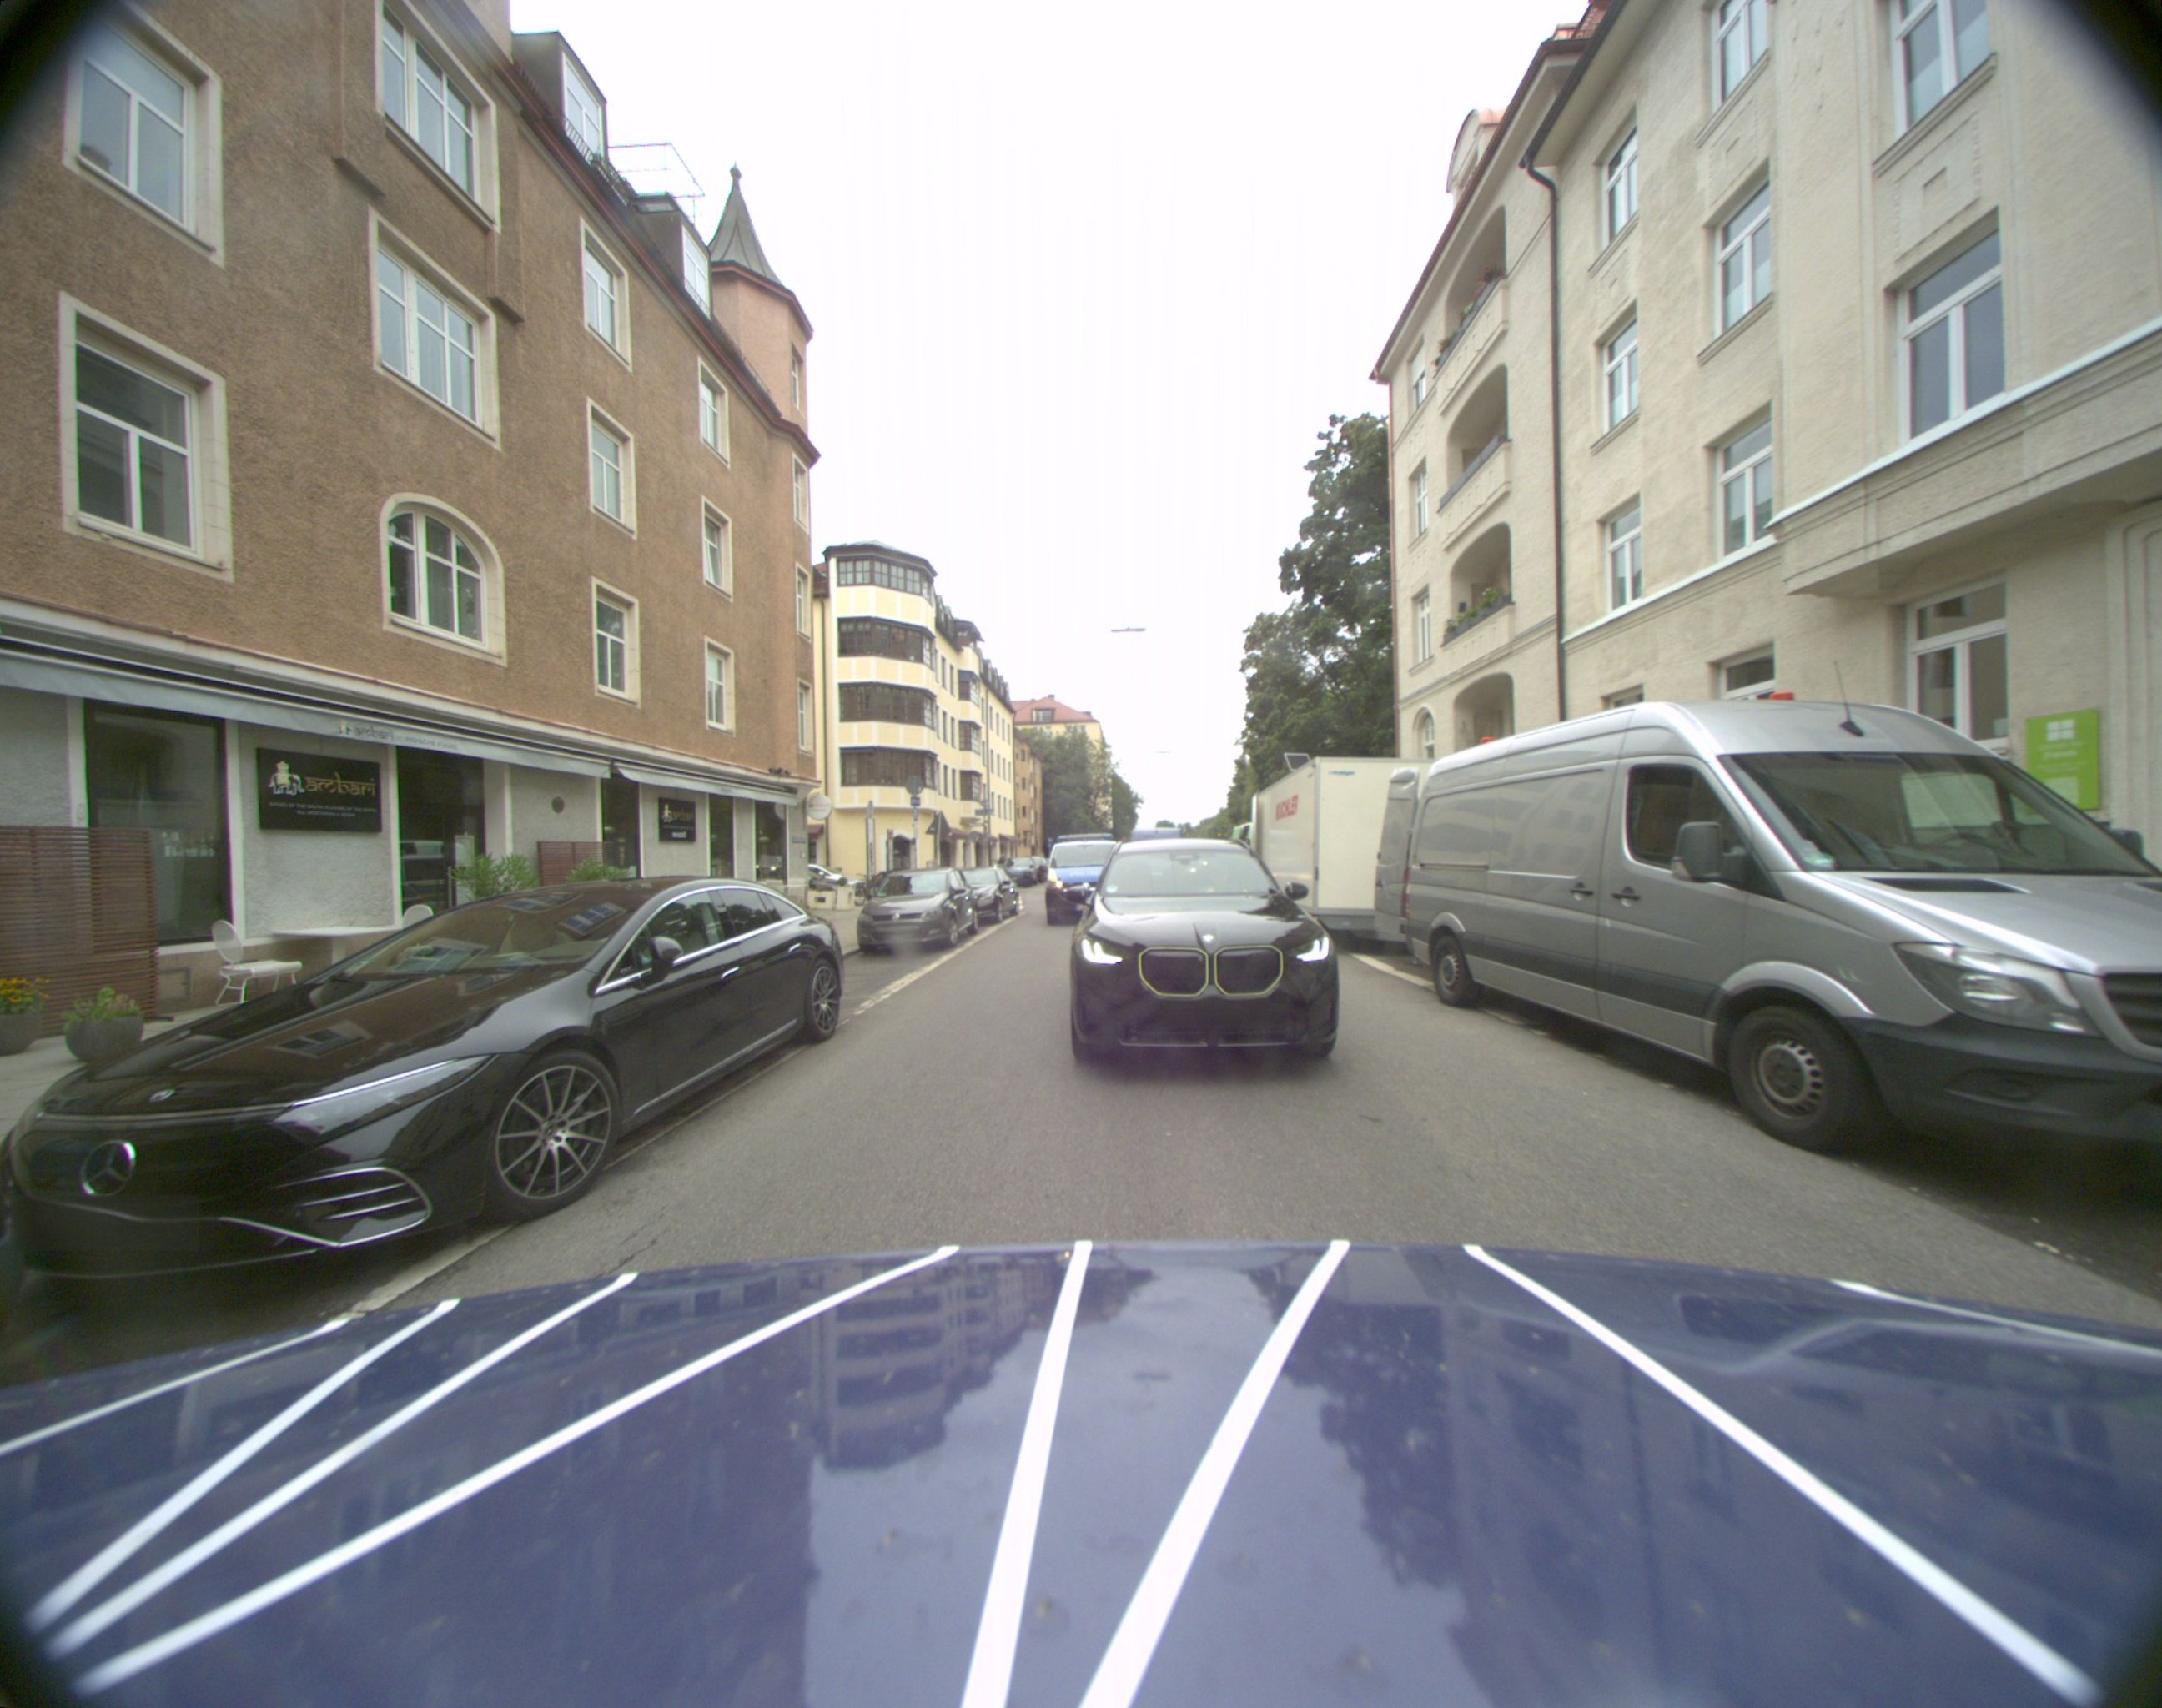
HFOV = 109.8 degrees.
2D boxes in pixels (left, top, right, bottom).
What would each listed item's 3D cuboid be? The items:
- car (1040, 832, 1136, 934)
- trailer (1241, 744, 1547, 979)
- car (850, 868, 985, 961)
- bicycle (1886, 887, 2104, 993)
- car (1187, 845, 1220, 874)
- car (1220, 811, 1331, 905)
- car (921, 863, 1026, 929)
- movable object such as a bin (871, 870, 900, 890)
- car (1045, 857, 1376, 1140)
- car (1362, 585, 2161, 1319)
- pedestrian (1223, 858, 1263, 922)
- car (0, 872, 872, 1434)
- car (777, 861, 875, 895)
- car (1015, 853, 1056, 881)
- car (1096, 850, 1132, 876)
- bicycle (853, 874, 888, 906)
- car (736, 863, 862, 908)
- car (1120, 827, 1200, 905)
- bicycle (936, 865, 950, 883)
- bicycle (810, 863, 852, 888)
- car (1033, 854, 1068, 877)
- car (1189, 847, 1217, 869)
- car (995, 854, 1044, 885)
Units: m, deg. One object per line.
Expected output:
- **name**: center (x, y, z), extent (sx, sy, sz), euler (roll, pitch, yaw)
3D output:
- **car**: center (0.340, 0.607, 18.916), extent (1.826, 2.086, 5.635), euler (-3, 0, 5)
- **trailer**: center (4.802, 0.106, 13.583), extent (2.809, 2.951, 7.602), euler (2, 0, 5)
- **car**: center (-2.981, 1.048, 14.705), extent (1.576, 1.386, 4.182), euler (-1, 1, 2)
- **bicycle**: center (9.860, 0.880, 8.303), extent (0.416, 0.909, 1.757), euler (-4, 1, 8)
- **car**: center (7.530, 0.313, 46.604), extent (1.816, 1.580, 4.166), euler (3, 1, 9)
- **car**: center (6.002, 0.098, 24.477), extent (2.146, 2.557, 6.796), euler (-1, 0, 3)
- **car**: center (-2.679, 1.006, 20.130), extent (1.851, 1.397, 4.788), euler (-2, 0, 3)
- **movable object such as a bin**: center (-9.195, 1.236, 35.734), extent (1.125, 0.895, 0.684), euler (-1, 1, 4)
- **car**: center (0.956, 0.858, 6.626), extent (1.920, 1.557, 4.295), euler (-1, 1, 5)
- **car**: center (4.495, 0.374, 6.092), extent (2.060, 2.572, 6.877), euler (3, 0, 2)
- **pedestrian**: center (4.079, 0.893, 19.111), extent (0.764, 1.571, 0.636), euler (-1, 1, -15)
- **car**: center (-3.259, 1.000, 5.139), extent (1.935, 1.544, 5.637), euler (-2, 0, 2)
- **car**: center (-11.411, 1.084, 34.115), extent (3.741, 1.431, 1.753), euler (-1, -2, 7)
- **car**: center (-2.859, 0.774, 48.766), extent (1.817, 1.580, 4.165), euler (3, 1, 7)
- **car**: center (2.096, 0.523, 47.436), extent (1.997, 1.587, 4.001), euler (0, 1, 6)
- **bicycle**: center (-7.059, 1.187, 25.518), extent (0.496, 0.999, 1.804), euler (1, -1, 6)
- **car**: center (-10.307, 1.134, 27.941), extent (3.881, 1.479, 1.892), euler (-1, 1, 4)
- **car**: center (3.041, 0.319, 27.699), extent (2.003, 2.477, 6.238), euler (-1, 1, 14)
- **bicycle**: center (-7.597, 1.106, 41.837), extent (0.262, 0.897, 1.696), euler (3, 1, 5)
- **bicycle**: center (-12.338, 1.073, 37.564), extent (1.904, 1.180, 0.515), euler (-1, 1, 4)
- **car**: center (-2.132, 0.777, 53.845), extent (1.763, 1.514, 3.934), euler (1, 1, 8)
- **car**: center (8.928, 0.245, 55.795), extent (1.816, 1.455, 4.166), euler (3, 1, 8)
- **car**: center (-3.464, 0.860, 43.551), extent (2.111, 1.613, 4.497), euler (-1, 0, 4)
